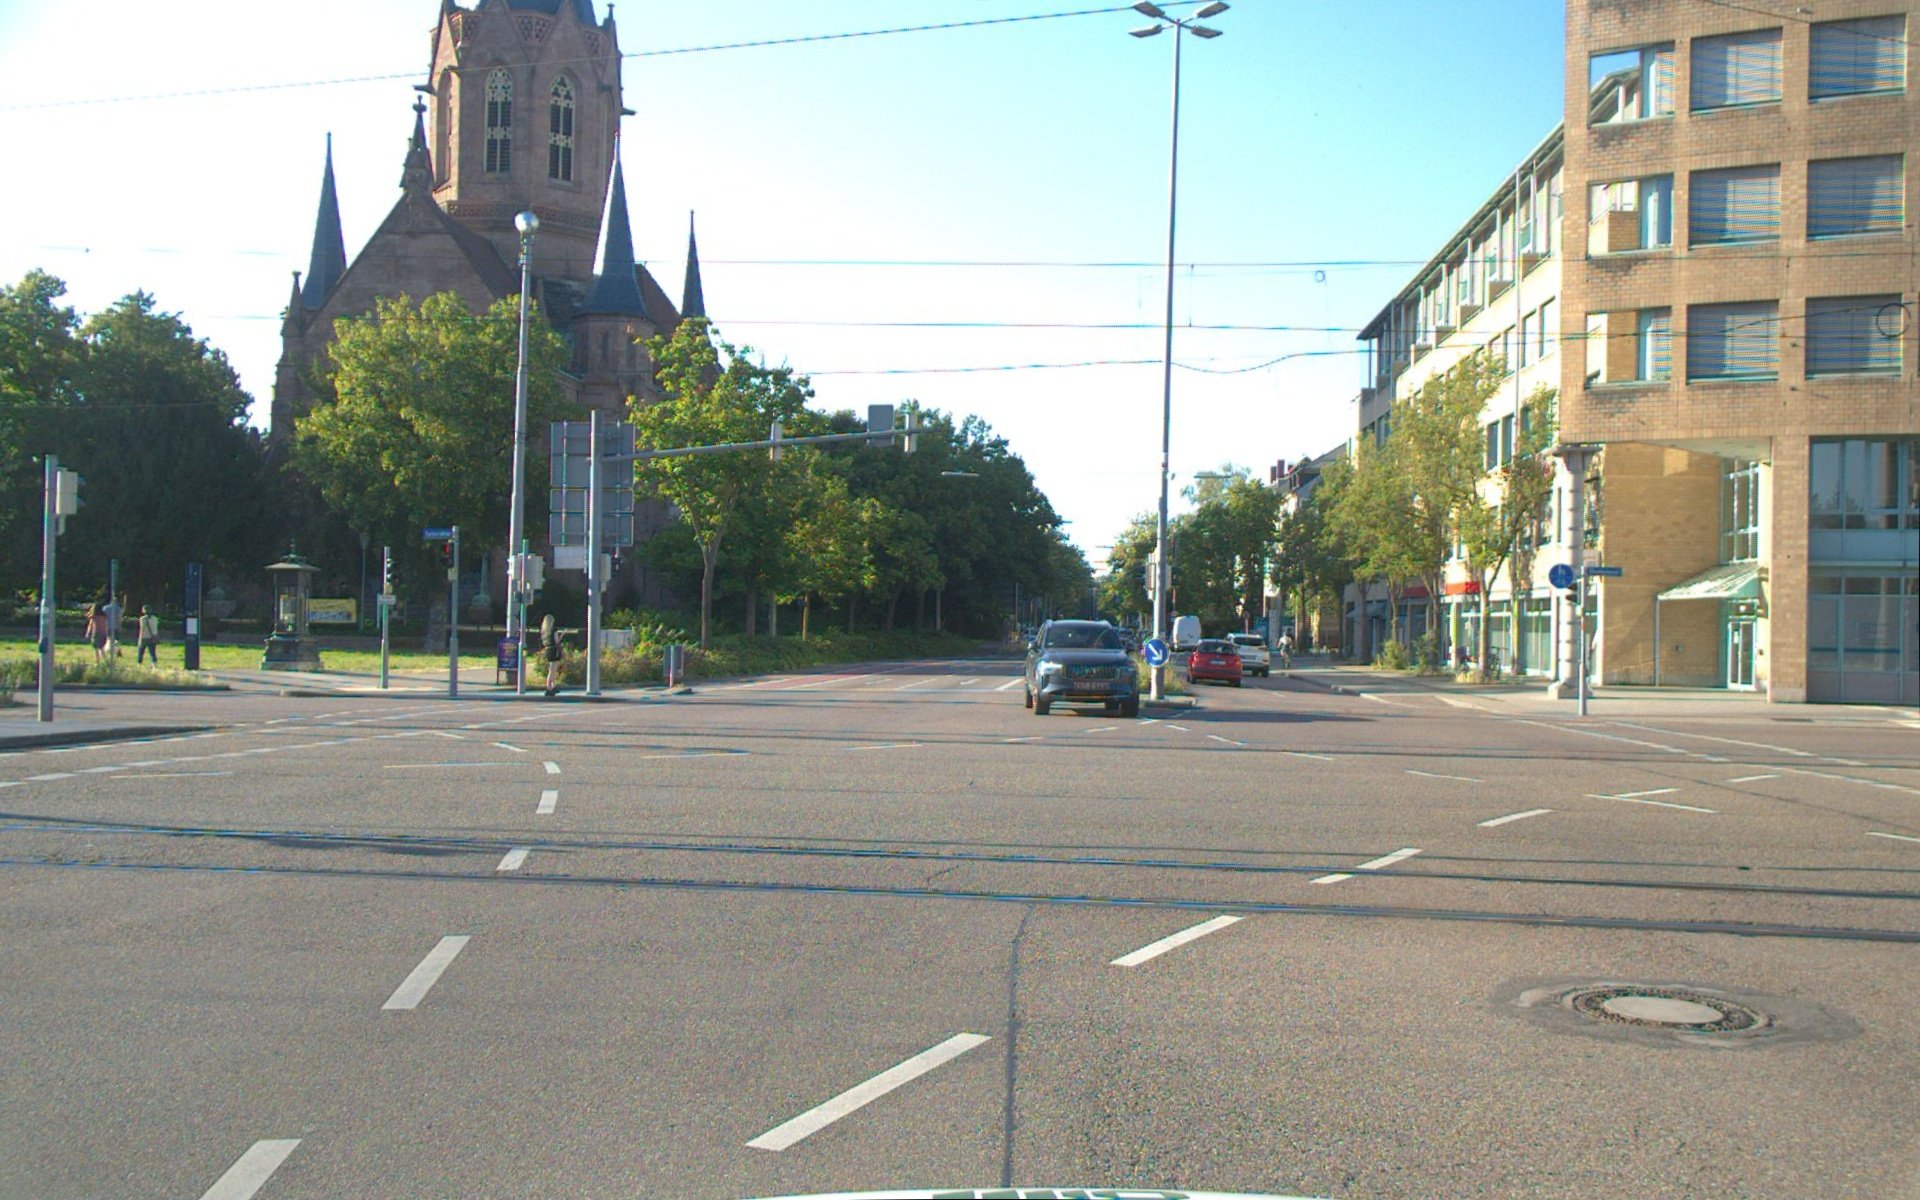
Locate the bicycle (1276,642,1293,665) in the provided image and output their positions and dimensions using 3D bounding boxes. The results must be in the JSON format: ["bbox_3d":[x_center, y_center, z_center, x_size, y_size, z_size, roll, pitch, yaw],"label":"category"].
[{"bbox_3d":[15.385,2.526,78.374,0.579,0.959,1.979,2,0,6],"label":"bicycle"}]

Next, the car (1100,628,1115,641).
[{"bbox_3d":[16.121,3.779,180.646,1.561,1.289,3.268,1,0,5],"label":"car"}]

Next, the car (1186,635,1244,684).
[{"bbox_3d":[8.531,1.971,55.468,1.634,1.488,4.002,2,-1,5],"label":"car"}]

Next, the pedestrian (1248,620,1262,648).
[{"bbox_3d":[19.656,2.275,110.214,0.830,1.835,0.776,1,-1,5],"label":"pedestrian"}]

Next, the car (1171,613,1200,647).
[{"bbox_3d":[16.930,2.260,124.460,1.951,2.483,4.002,2,-1,6],"label":"car"}]

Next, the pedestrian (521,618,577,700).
[{"bbox_3d":[-9.150,1.304,36.864,0.944,1.770,0.812,1,-1,7],"label":"pedestrian"}]

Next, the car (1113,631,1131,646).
[{"bbox_3d":[14.402,3.400,147.418,1.561,1.289,3.268,1,0,5],"label":"car"}]

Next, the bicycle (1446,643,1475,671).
[{"bbox_3d":[19.384,2.198,64.088,0.632,1.012,2.082,1,-1,5],"label":"bicycle"}]

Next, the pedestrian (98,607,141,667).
[{"bbox_3d":[-25.155,1.111,49.531,0.999,1.726,0.839,2,-1,-21],"label":"pedestrian"}]

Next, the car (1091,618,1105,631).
[{"bbox_3d":[19.259,3.419,231.304,1.846,1.700,4.002,2,-1,6],"label":"car"}]

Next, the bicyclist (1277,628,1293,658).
[{"bbox_3d":[15.402,2.045,78.359,0.579,1.393,0.930,2,0,5],"label":"bicyclist"}]

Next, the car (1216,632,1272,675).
[{"bbox_3d":[11.647,2.170,68.034,1.876,1.635,4.272,2,-1,5],"label":"car"}]

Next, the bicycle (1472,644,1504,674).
[{"bbox_3d":[18.998,2.123,59.538,0.632,1.012,2.082,1,-1,5],"label":"bicycle"}]

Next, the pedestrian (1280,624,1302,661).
[{"bbox_3d":[18.475,2.357,92.339,1.084,2.011,1.162,1,-1,5],"label":"pedestrian"}]

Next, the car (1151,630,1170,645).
[{"bbox_3d":[17.907,3.312,147.587,1.561,1.289,3.268,1,0,5],"label":"car"}]

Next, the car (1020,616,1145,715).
[{"bbox_3d":[2.286,1.241,32.176,1.953,1.754,5.029,1,-2,-1],"label":"car"}]

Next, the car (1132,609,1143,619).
[{"bbox_3d":[25.194,1.997,234.930,1.561,1.289,3.268,1,0,5],"label":"car"}]

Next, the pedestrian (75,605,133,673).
[{"bbox_3d":[-22.382,1.024,43.257,0.993,1.726,0.844,2,-1,25],"label":"pedestrian"}]

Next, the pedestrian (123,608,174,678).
[{"bbox_3d":[-20.617,1.086,42.002,0.875,1.726,0.709,2,-1,25],"label":"pedestrian"}]
